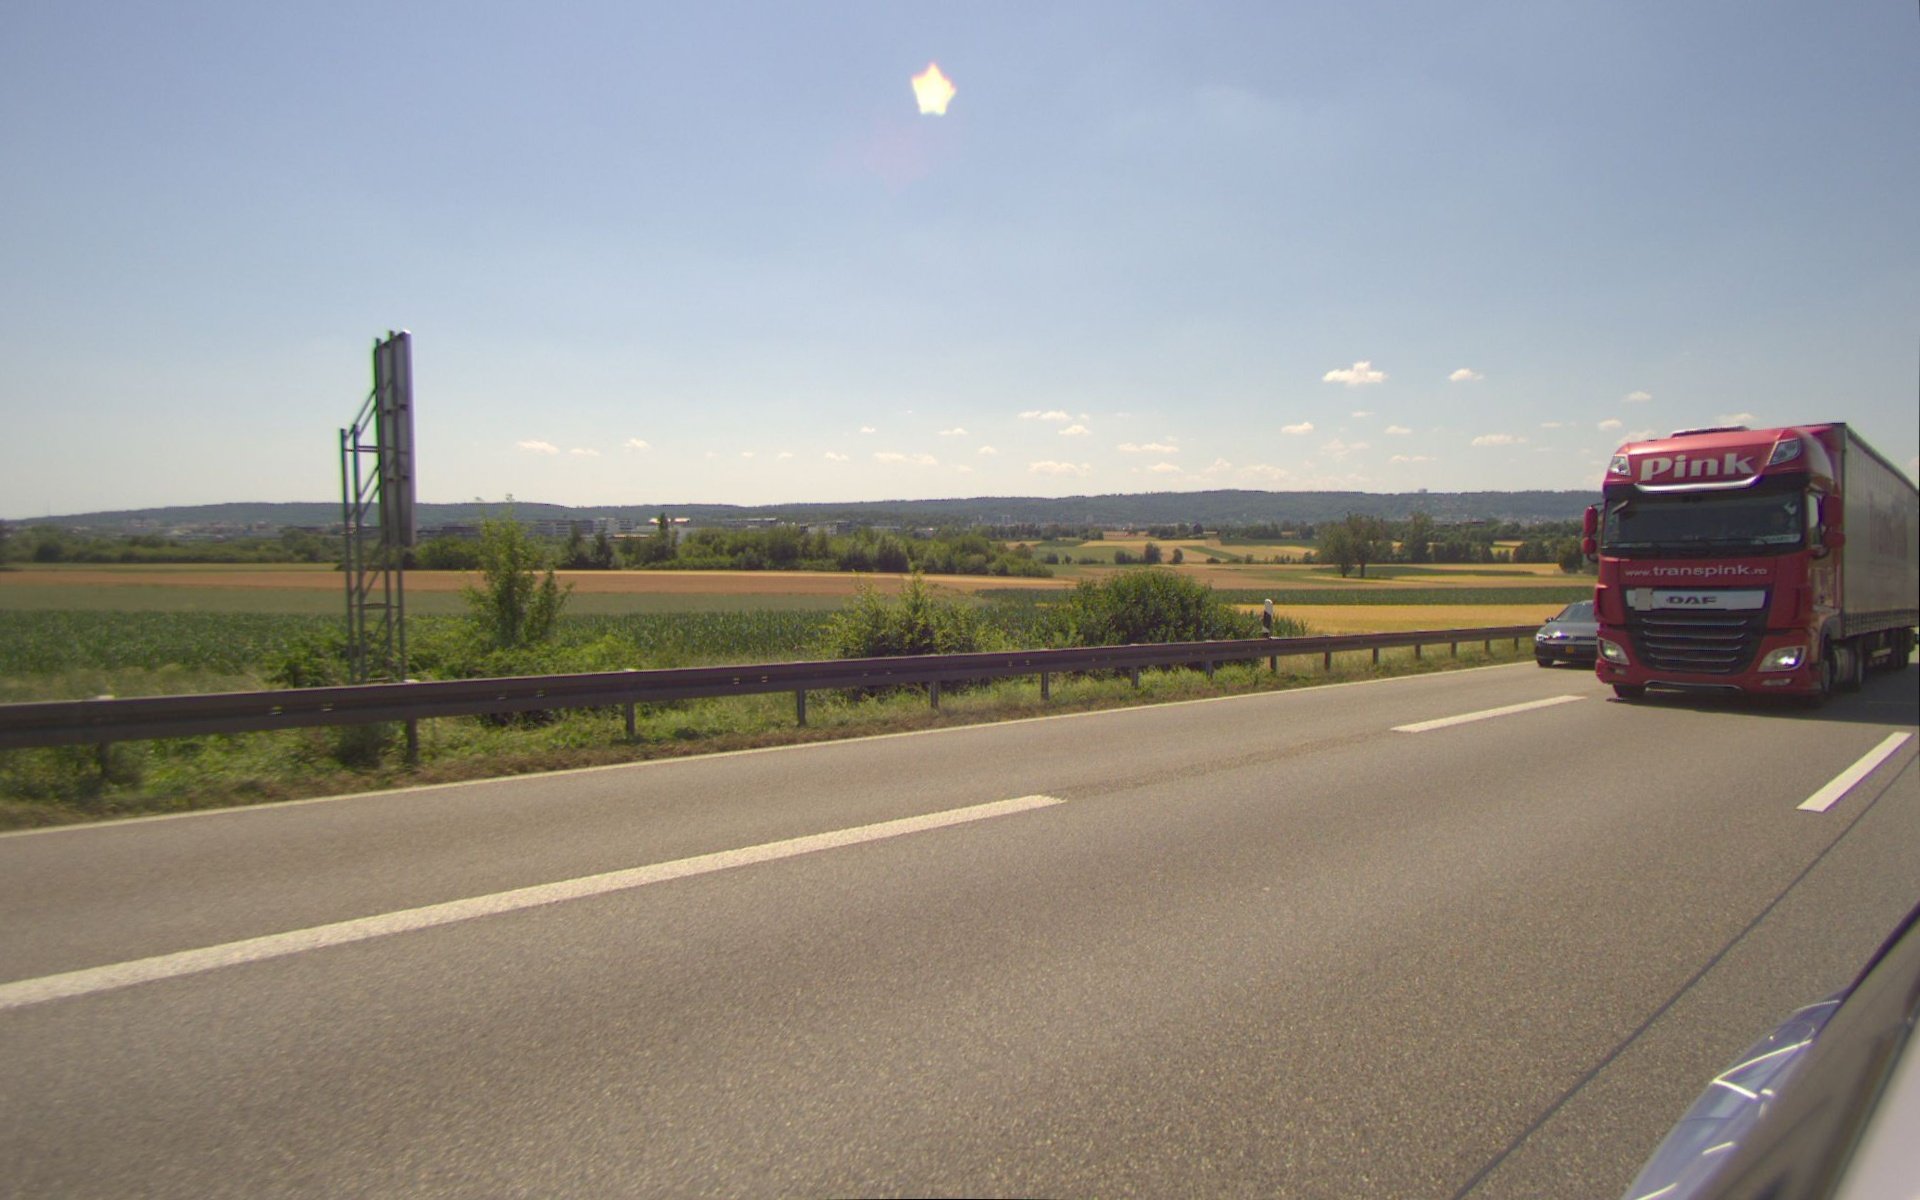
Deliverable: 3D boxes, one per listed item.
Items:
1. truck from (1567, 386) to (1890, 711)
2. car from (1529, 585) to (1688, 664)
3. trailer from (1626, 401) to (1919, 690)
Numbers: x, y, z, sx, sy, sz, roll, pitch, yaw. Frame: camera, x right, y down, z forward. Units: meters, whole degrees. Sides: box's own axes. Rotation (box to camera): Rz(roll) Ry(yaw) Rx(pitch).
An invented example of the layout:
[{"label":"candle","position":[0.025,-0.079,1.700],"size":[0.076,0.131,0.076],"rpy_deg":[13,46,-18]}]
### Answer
[{"label":"truck","position":[12.244,-0.704,15.894],"size":[6.400,4.059,2.920],"rpy_deg":[-1,1,-42]},{"label":"car","position":[14.369,0.486,22.338],"size":[3.932,1.571,2.034],"rpy_deg":[0,1,-43]},{"label":"trailer","position":[17.088,-0.918,20.313],"size":[13.622,4.169,2.922],"rpy_deg":[-1,1,-42]}]
